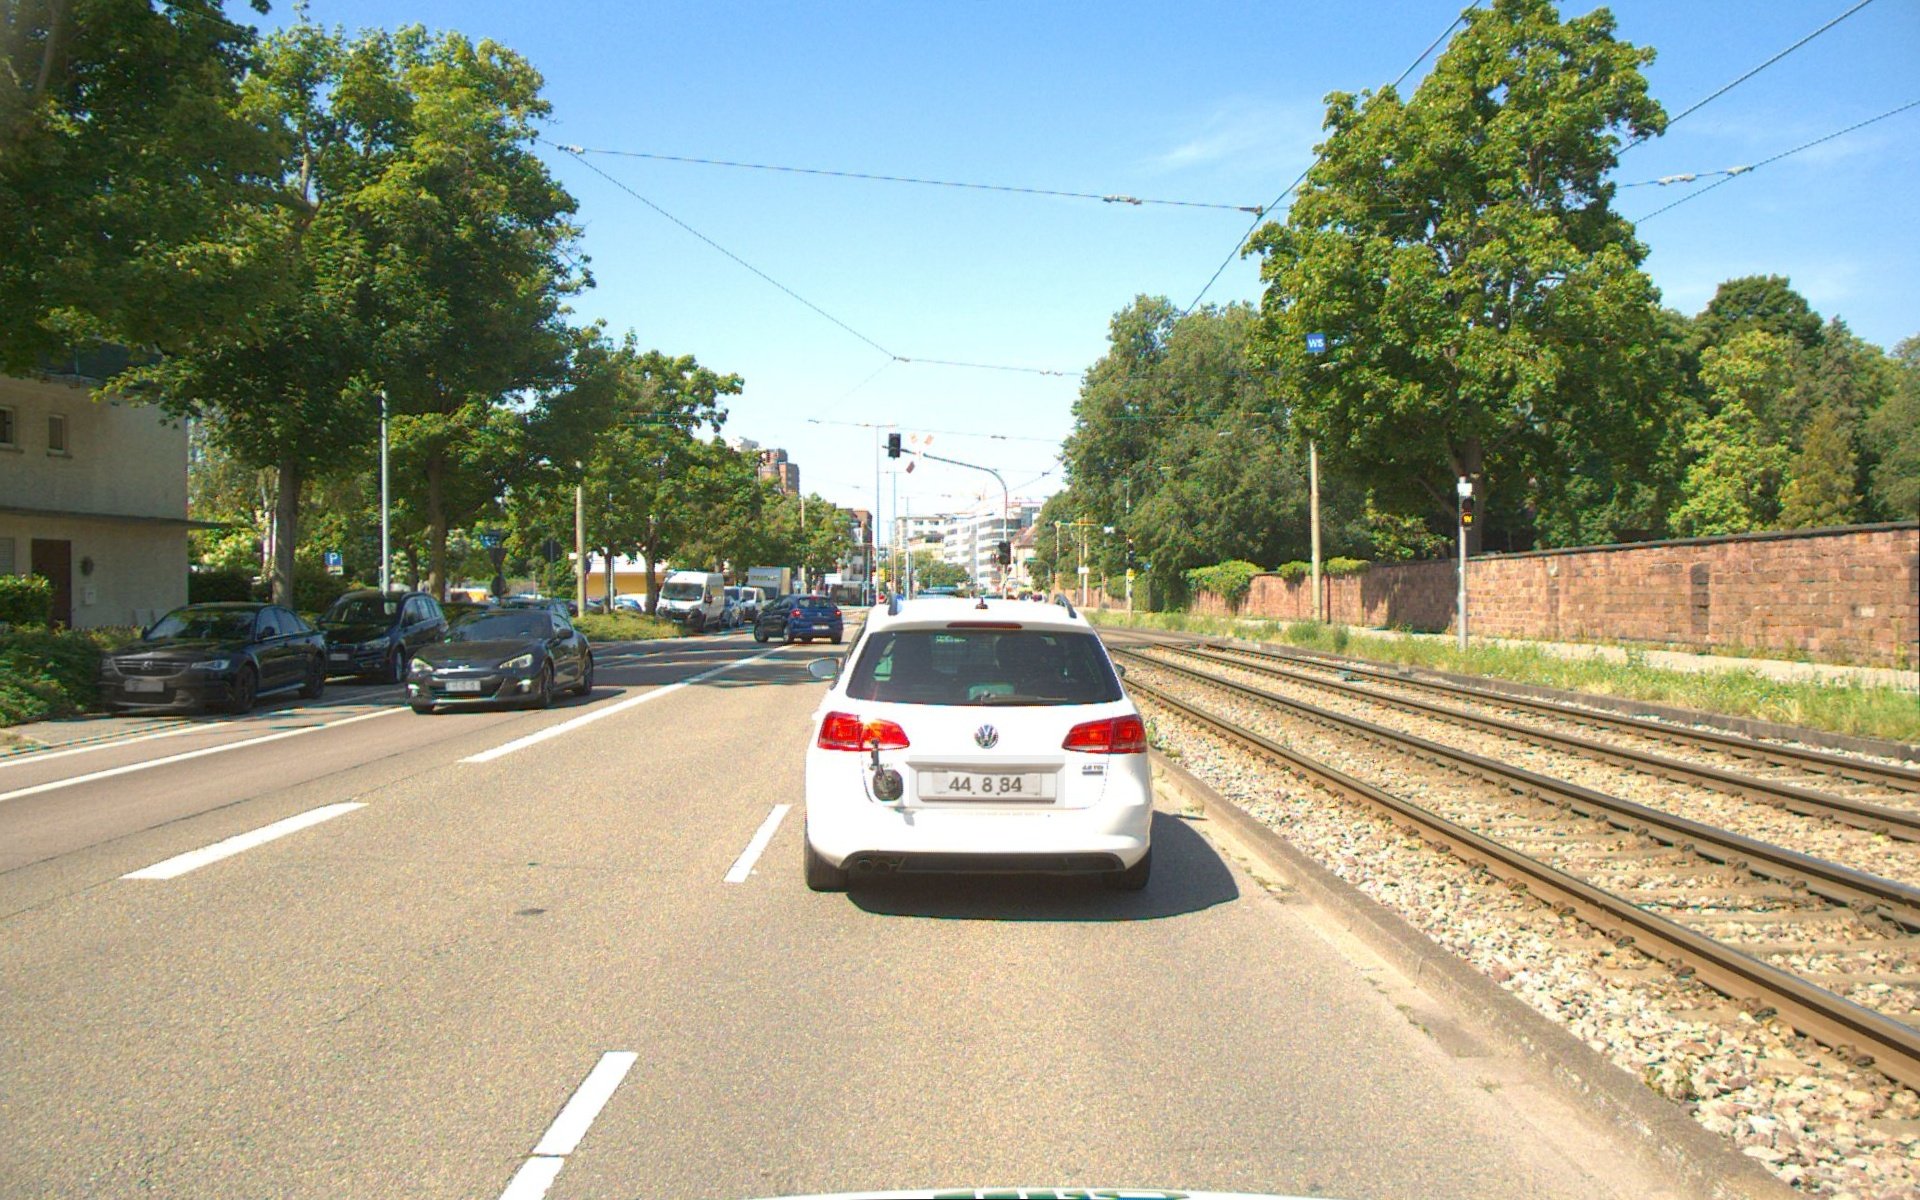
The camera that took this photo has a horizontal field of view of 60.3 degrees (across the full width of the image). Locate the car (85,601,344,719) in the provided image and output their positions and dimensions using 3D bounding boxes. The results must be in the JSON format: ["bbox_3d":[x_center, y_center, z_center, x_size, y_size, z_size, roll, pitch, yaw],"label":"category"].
[{"bbox_3d":[-10.559,0.772,23.857,1.803,1.491,4.906,0,0,-4],"label":"car"}]

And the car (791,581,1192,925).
[{"bbox_3d":[0.088,0.671,9.235,1.732,1.471,3.912,2,0,-2],"label":"car"}]

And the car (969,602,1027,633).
[{"bbox_3d":[1.844,0.835,79.319,1.709,1.432,3.915,2,0,17],"label":"car"}]

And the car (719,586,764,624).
[{"bbox_3d":[-11.946,0.252,90.618,1.806,1.995,5.133,-1,0,0],"label":"car"}]

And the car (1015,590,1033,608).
[{"bbox_3d":[6.681,-0.085,173.919,1.657,1.844,3.453,2,-1,-1],"label":"car"}]

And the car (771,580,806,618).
[{"bbox_3d":[-11.828,-0.075,114.521,1.806,2.538,5.856,-1,0,0],"label":"car"}]

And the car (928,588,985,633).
[{"bbox_3d":[-0.102,0.365,60.708,1.822,1.539,3.915,2,0,3],"label":"car"}]

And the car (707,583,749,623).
[{"bbox_3d":[-11.849,0.125,84.816,1.807,1.971,5.189,-1,0,-5],"label":"car"}]

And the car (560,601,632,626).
[{"bbox_3d":[-22.025,0.812,100.177,3.904,1.469,1.772,-1,0,2],"label":"car"}]

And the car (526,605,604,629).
[{"bbox_3d":[-22.077,0.957,92.492,3.904,1.246,1.772,-1,0,2],"label":"car"}]

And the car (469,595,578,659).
[{"bbox_3d":[-10.846,0.650,41.328,1.608,1.476,4.004,2,0,0],"label":"car"}]

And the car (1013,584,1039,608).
[{"bbox_3d":[7.283,-0.389,182.427,2.413,2.542,5.908,2,-1,-1],"label":"car"}]

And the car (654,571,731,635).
[{"bbox_3d":[-11.475,0.114,71.383,2.016,2.544,6.308,2,0,2],"label":"car"}]

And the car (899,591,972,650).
[{"bbox_3d":[-0.656,0.522,44.050,1.823,1.441,4.324,2,0,-1],"label":"car"}]

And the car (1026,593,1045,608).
[{"bbox_3d":[7.267,0.096,159.693,1.549,1.370,3.453,2,-1,-1],"label":"car"}]

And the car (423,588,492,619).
[{"bbox_3d":[-35.007,0.251,115.304,4.175,2.049,1.997,2,-1,-7],"label":"car"}]

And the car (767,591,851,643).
[{"bbox_3d":[-4.564,0.485,49.553,1.718,1.432,3.894,2,0,-17],"label":"car"}]

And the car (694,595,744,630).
[{"bbox_3d":[-11.275,0.560,77.619,1.806,1.543,4.196,-1,0,-1],"label":"car"}]

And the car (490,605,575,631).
[{"bbox_3d":[-22.058,0.942,85.464,3.904,1.246,1.772,-1,0,2],"label":"car"}]

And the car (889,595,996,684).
[{"bbox_3d":[-0.324,0.633,28.914,1.710,1.412,3.912,1,0,-1],"label":"car"}]

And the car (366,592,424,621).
[{"bbox_3d":[-37.659,0.415,110.282,3.354,1.909,1.552,-1,0,-3],"label":"car"}]

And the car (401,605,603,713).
[{"bbox_3d":[-6.101,0.739,22.469,1.653,1.266,4.063,-1,0,-1],"label":"car"}]

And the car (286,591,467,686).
[{"bbox_3d":[-10.768,0.651,30.919,1.726,1.634,4.893,0,0,-1],"label":"car"}]

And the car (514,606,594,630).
[{"bbox_3d":[-22.166,0.989,90.371,3.904,1.246,1.772,-1,0,2],"label":"car"}]

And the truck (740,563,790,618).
[{"bbox_3d":[-11.682,-0.583,99.585,2.309,3.177,6.889,-1,0,-2],"label":"truck"}]

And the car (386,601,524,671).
[{"bbox_3d":[-11.033,0.748,36.475,1.656,1.403,4.781,0,0,-1],"label":"car"}]
